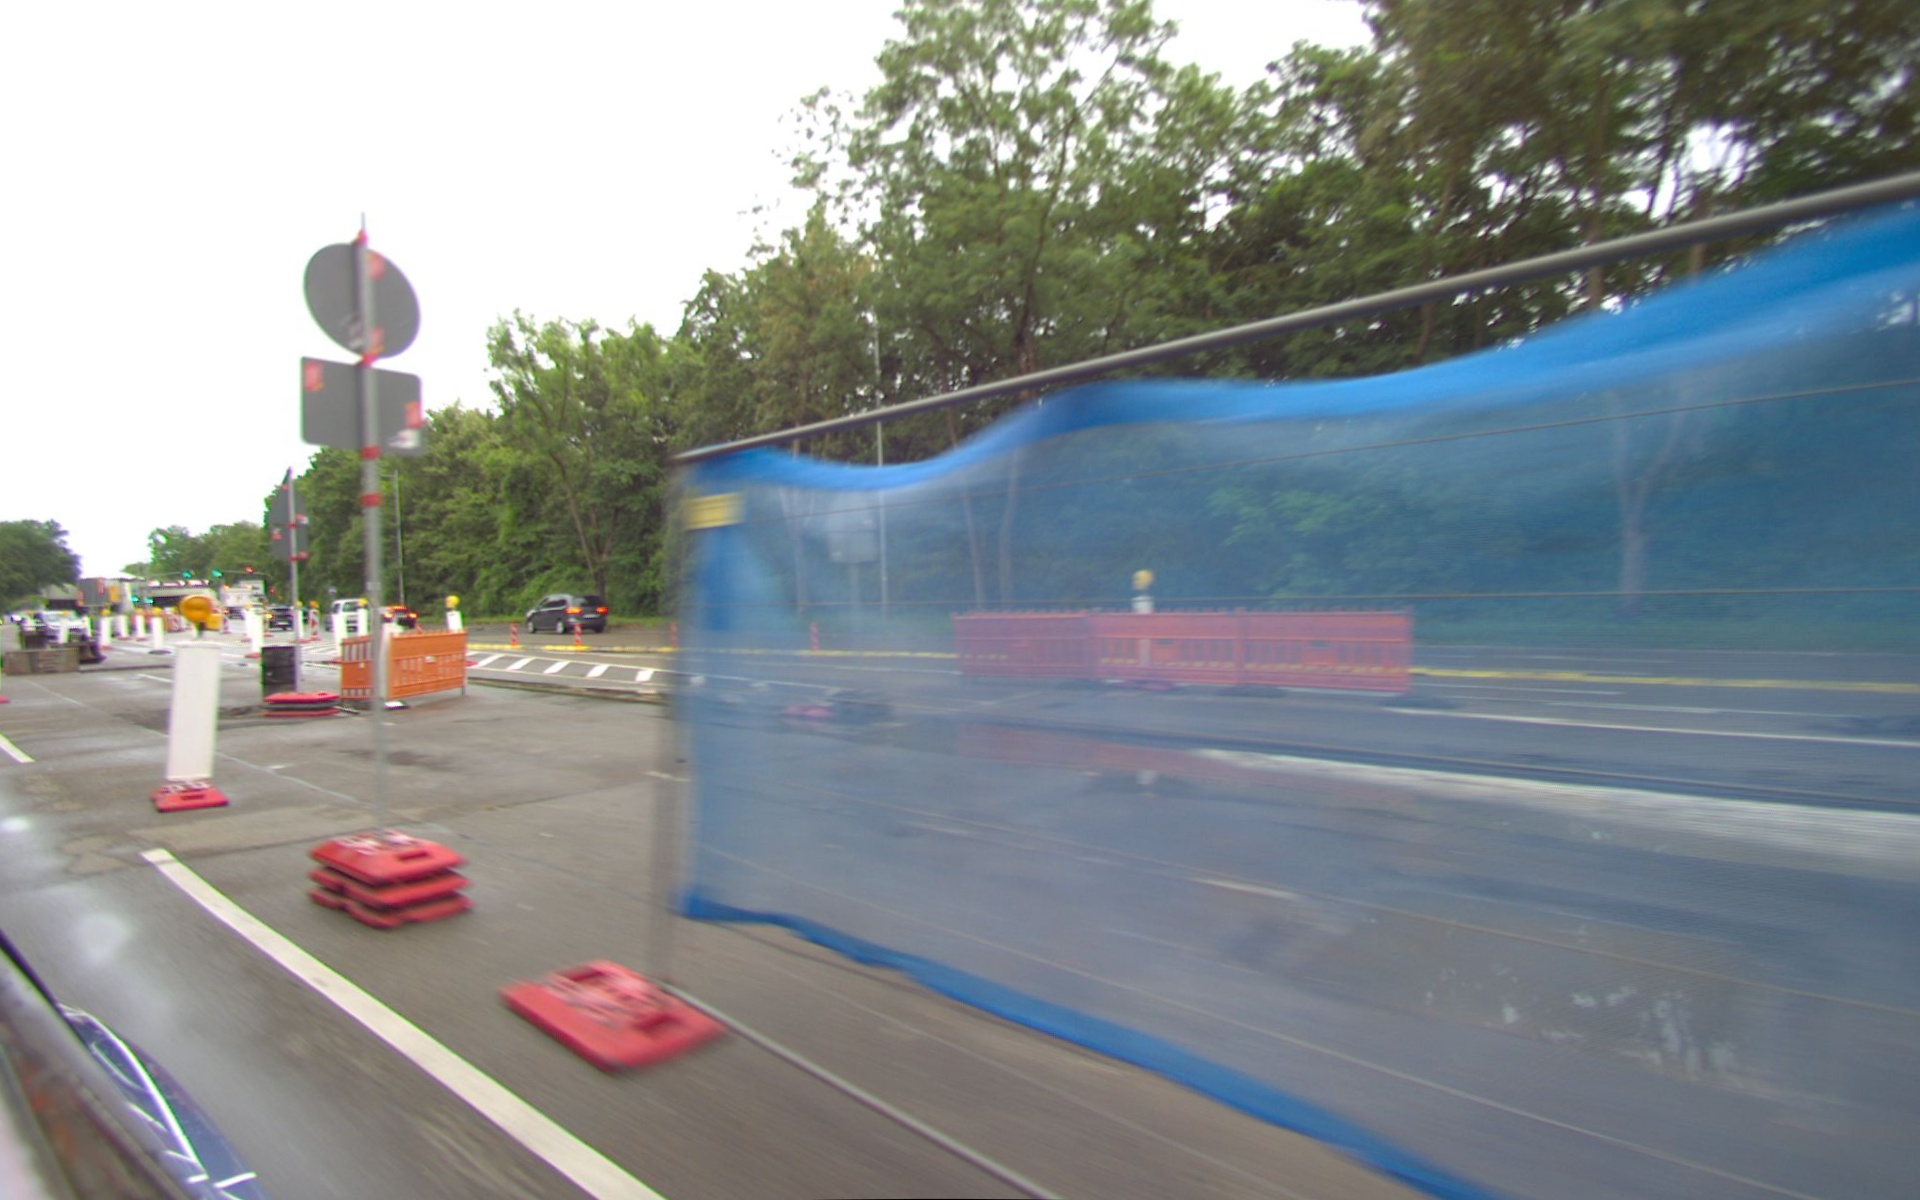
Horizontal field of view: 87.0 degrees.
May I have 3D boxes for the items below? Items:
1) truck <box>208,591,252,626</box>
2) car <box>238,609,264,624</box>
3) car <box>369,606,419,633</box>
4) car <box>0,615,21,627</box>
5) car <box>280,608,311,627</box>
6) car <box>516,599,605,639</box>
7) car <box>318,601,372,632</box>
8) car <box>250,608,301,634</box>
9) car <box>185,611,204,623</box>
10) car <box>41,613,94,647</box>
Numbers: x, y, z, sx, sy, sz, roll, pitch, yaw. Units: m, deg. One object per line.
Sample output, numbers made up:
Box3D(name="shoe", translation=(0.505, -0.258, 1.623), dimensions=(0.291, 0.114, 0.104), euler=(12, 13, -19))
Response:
Box3D(name="truck", translation=(-85.049, 0.970, 117.851), dimensions=(3.105, 3.860, 9.658), euler=(-1, 0, -42))
Box3D(name="car", translation=(-73.654, 1.745, 105.151), dimensions=(1.880, 1.507, 3.775), euler=(0, -1, -41))
Box3D(name="car", translation=(-33.671, 1.161, 60.136), dimensions=(3.608, 1.495, 1.603), euler=(-1, -1, 44))
Box3D(name="car", translation=(-120.482, 2.621, 128.429), dimensions=(1.686, 1.453, 4.237), euler=(-1, 0, -41))
Box3D(name="car", translation=(-54.754, 1.439, 83.380), dimensions=(1.654, 1.507, 3.775), euler=(0, -1, -41))
Box3D(name="car", translation=(-17.164, 0.824, 43.348), dimensions=(4.767, 1.626, 1.656), euler=(-1, -1, 43))
Box3D(name="car", translation=(-34.187, 0.919, 56.236), dimensions=(3.770, 1.626, 1.656), euler=(-1, -1, 44))
Box3D(name="car", translation=(-41.271, 1.261, 61.005), dimensions=(3.769, 1.507, 1.720), euler=(-1, -1, 43))
Box3D(name="car", translation=(-98.097, 2.134, 129.697), dimensions=(1.837, 1.507, 4.185), euler=(0, -1, -39))
Box3D(name="car", translation=(-45.584, 1.518, 51.678), dimensions=(1.769, 1.596, 3.863), euler=(-3, 1, -45))
